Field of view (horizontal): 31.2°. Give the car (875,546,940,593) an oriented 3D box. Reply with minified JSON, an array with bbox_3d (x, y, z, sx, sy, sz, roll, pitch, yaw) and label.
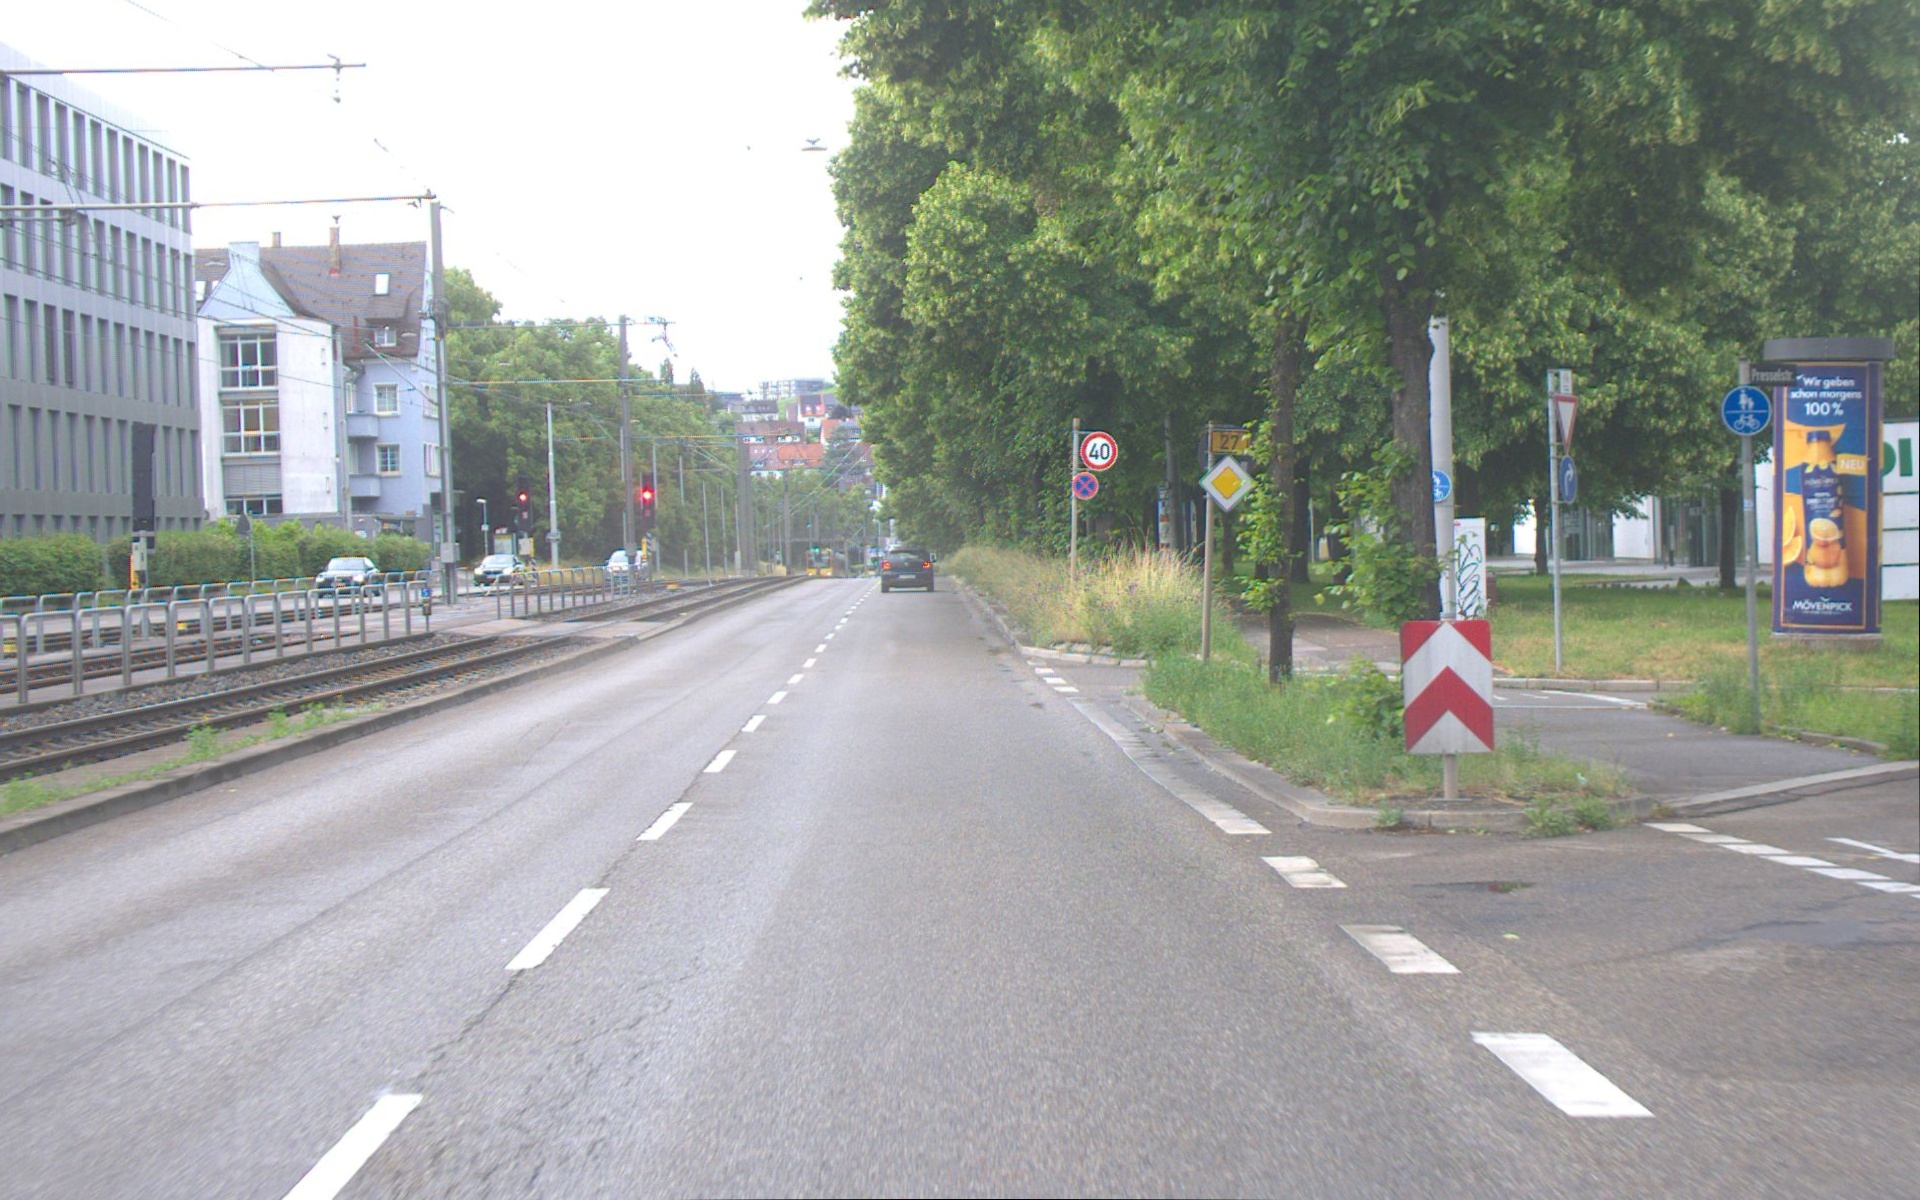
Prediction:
[{"bbox_3d":[-1.659,-0.990,109.693,1.982,1.436,4.474,-2,1,0],"label":"car"}]

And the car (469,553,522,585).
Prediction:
[{"bbox_3d":[-20.692,-1.372,153.201,1.798,1.342,4.259,-2,1,0],"label":"car"}]

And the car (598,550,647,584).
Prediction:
[{"bbox_3d":[-17.156,-1.708,174.960,1.902,1.639,4.884,-2,1,1],"label":"car"}]

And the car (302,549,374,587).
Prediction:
[{"bbox_3d":[-21.501,-1.117,118.911,1.756,1.239,3.988,-2,1,0],"label":"car"}]
